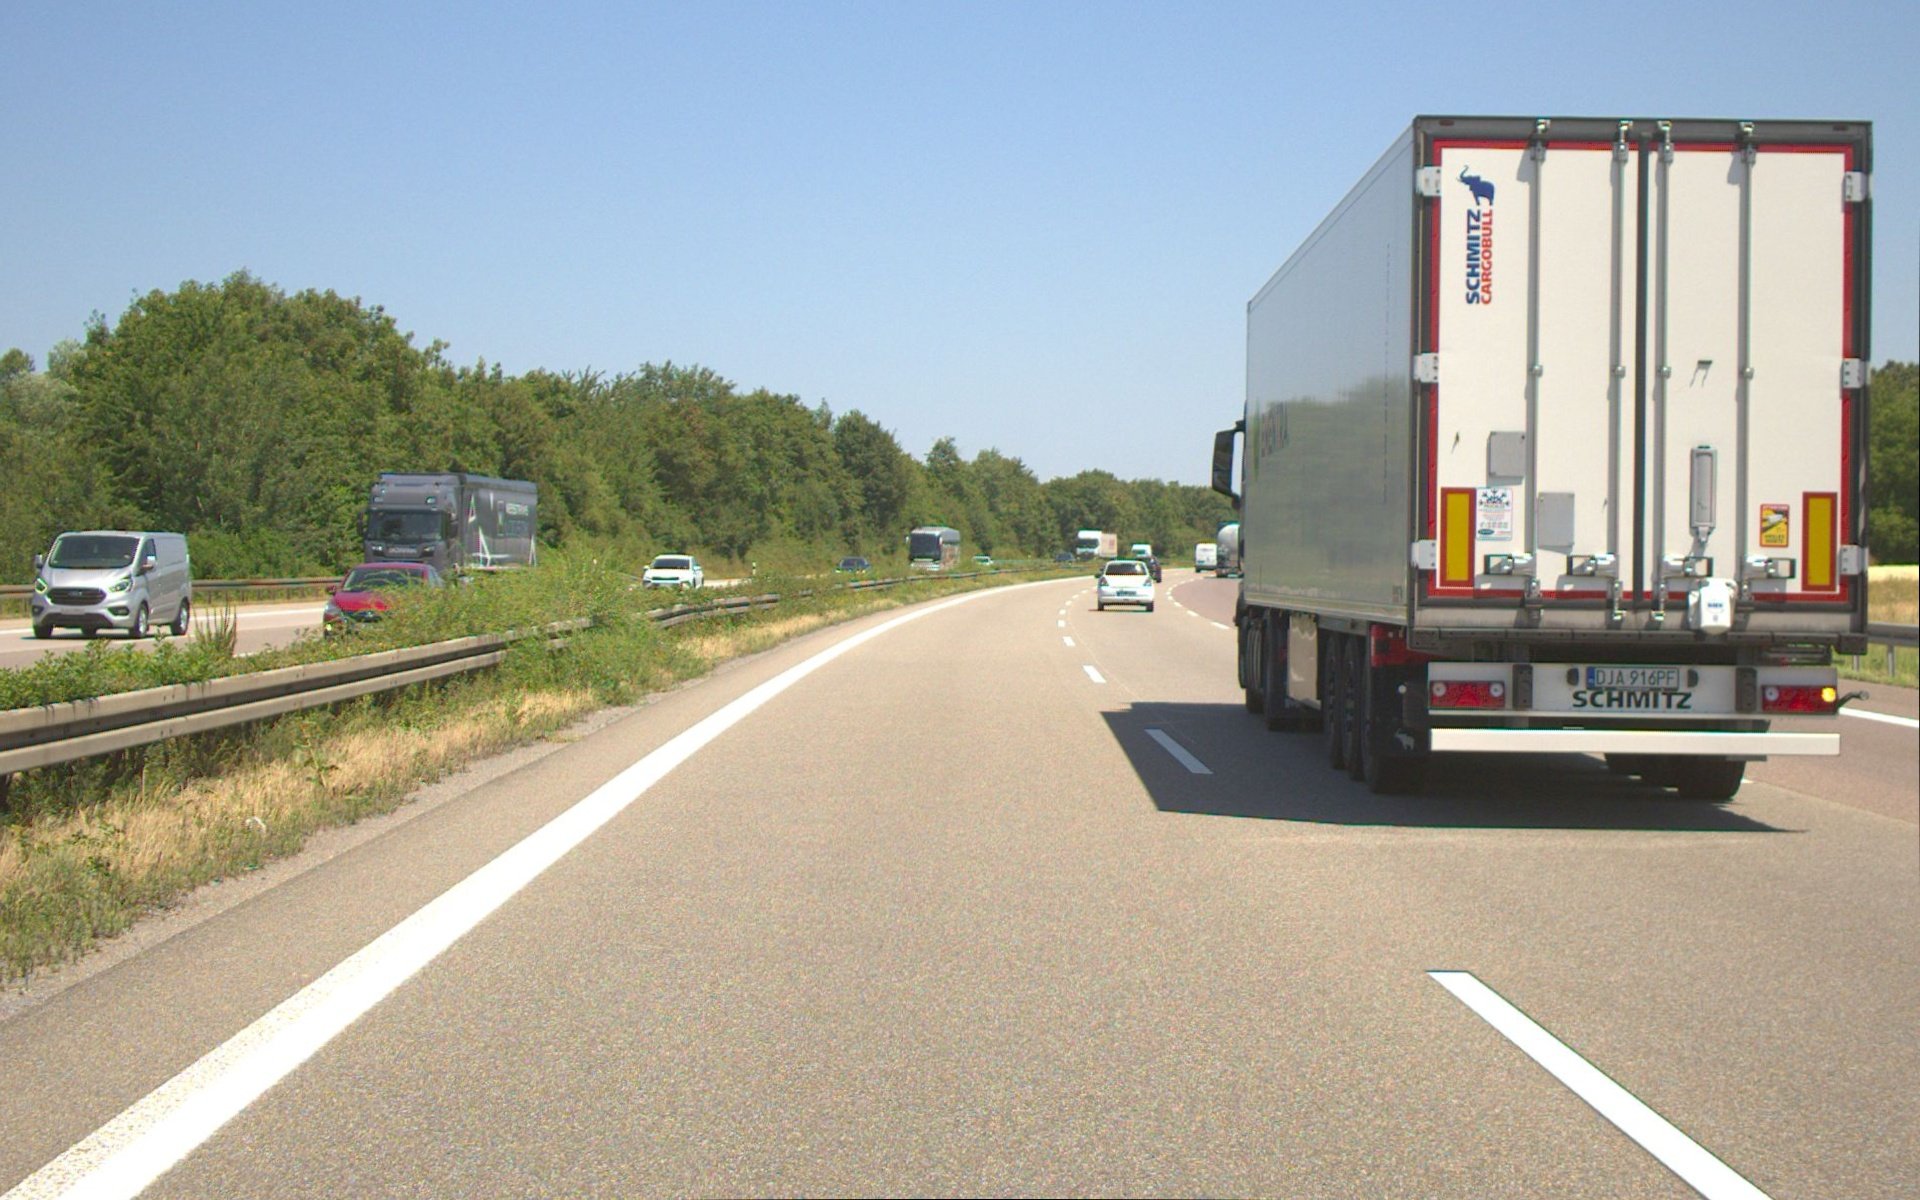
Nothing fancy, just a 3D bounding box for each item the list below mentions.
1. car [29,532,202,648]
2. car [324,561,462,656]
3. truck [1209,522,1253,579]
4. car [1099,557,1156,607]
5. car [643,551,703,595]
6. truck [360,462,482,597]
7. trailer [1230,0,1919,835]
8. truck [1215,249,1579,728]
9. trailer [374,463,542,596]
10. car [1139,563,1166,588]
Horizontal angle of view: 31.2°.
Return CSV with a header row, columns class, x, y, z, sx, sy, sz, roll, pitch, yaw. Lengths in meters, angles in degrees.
class,x,y,z,sx,sy,sz,roll,pitch,yaw
car,-15.705,-0.217,64.224,2.058,2.064,5.409,0,1,-2
car,-9.241,0.117,56.277,1.693,1.487,4.139,0,1,-2
truck,20.047,-3.614,253.625,2.740,4.038,10.451,0,0,7
car,5.072,-0.547,103.903,1.627,1.474,3.999,0,0,4
car,-10.529,-1.008,126.316,1.842,1.581,4.488,0,1,0
truck,-15.870,-2.052,101.466,2.893,3.902,4.000,0,1,1
trailer,3.995,-1.117,26.252,2.901,4.641,13.986,1,1,1
truck,4.094,-1.031,33.253,2.908,4.241,4.975,1,1,1
trailer,-15.700,-2.174,108.663,2.880,3.934,14.057,0,1,2
car,11.614,-1.497,207.642,1.627,1.474,4.000,0,0,3
